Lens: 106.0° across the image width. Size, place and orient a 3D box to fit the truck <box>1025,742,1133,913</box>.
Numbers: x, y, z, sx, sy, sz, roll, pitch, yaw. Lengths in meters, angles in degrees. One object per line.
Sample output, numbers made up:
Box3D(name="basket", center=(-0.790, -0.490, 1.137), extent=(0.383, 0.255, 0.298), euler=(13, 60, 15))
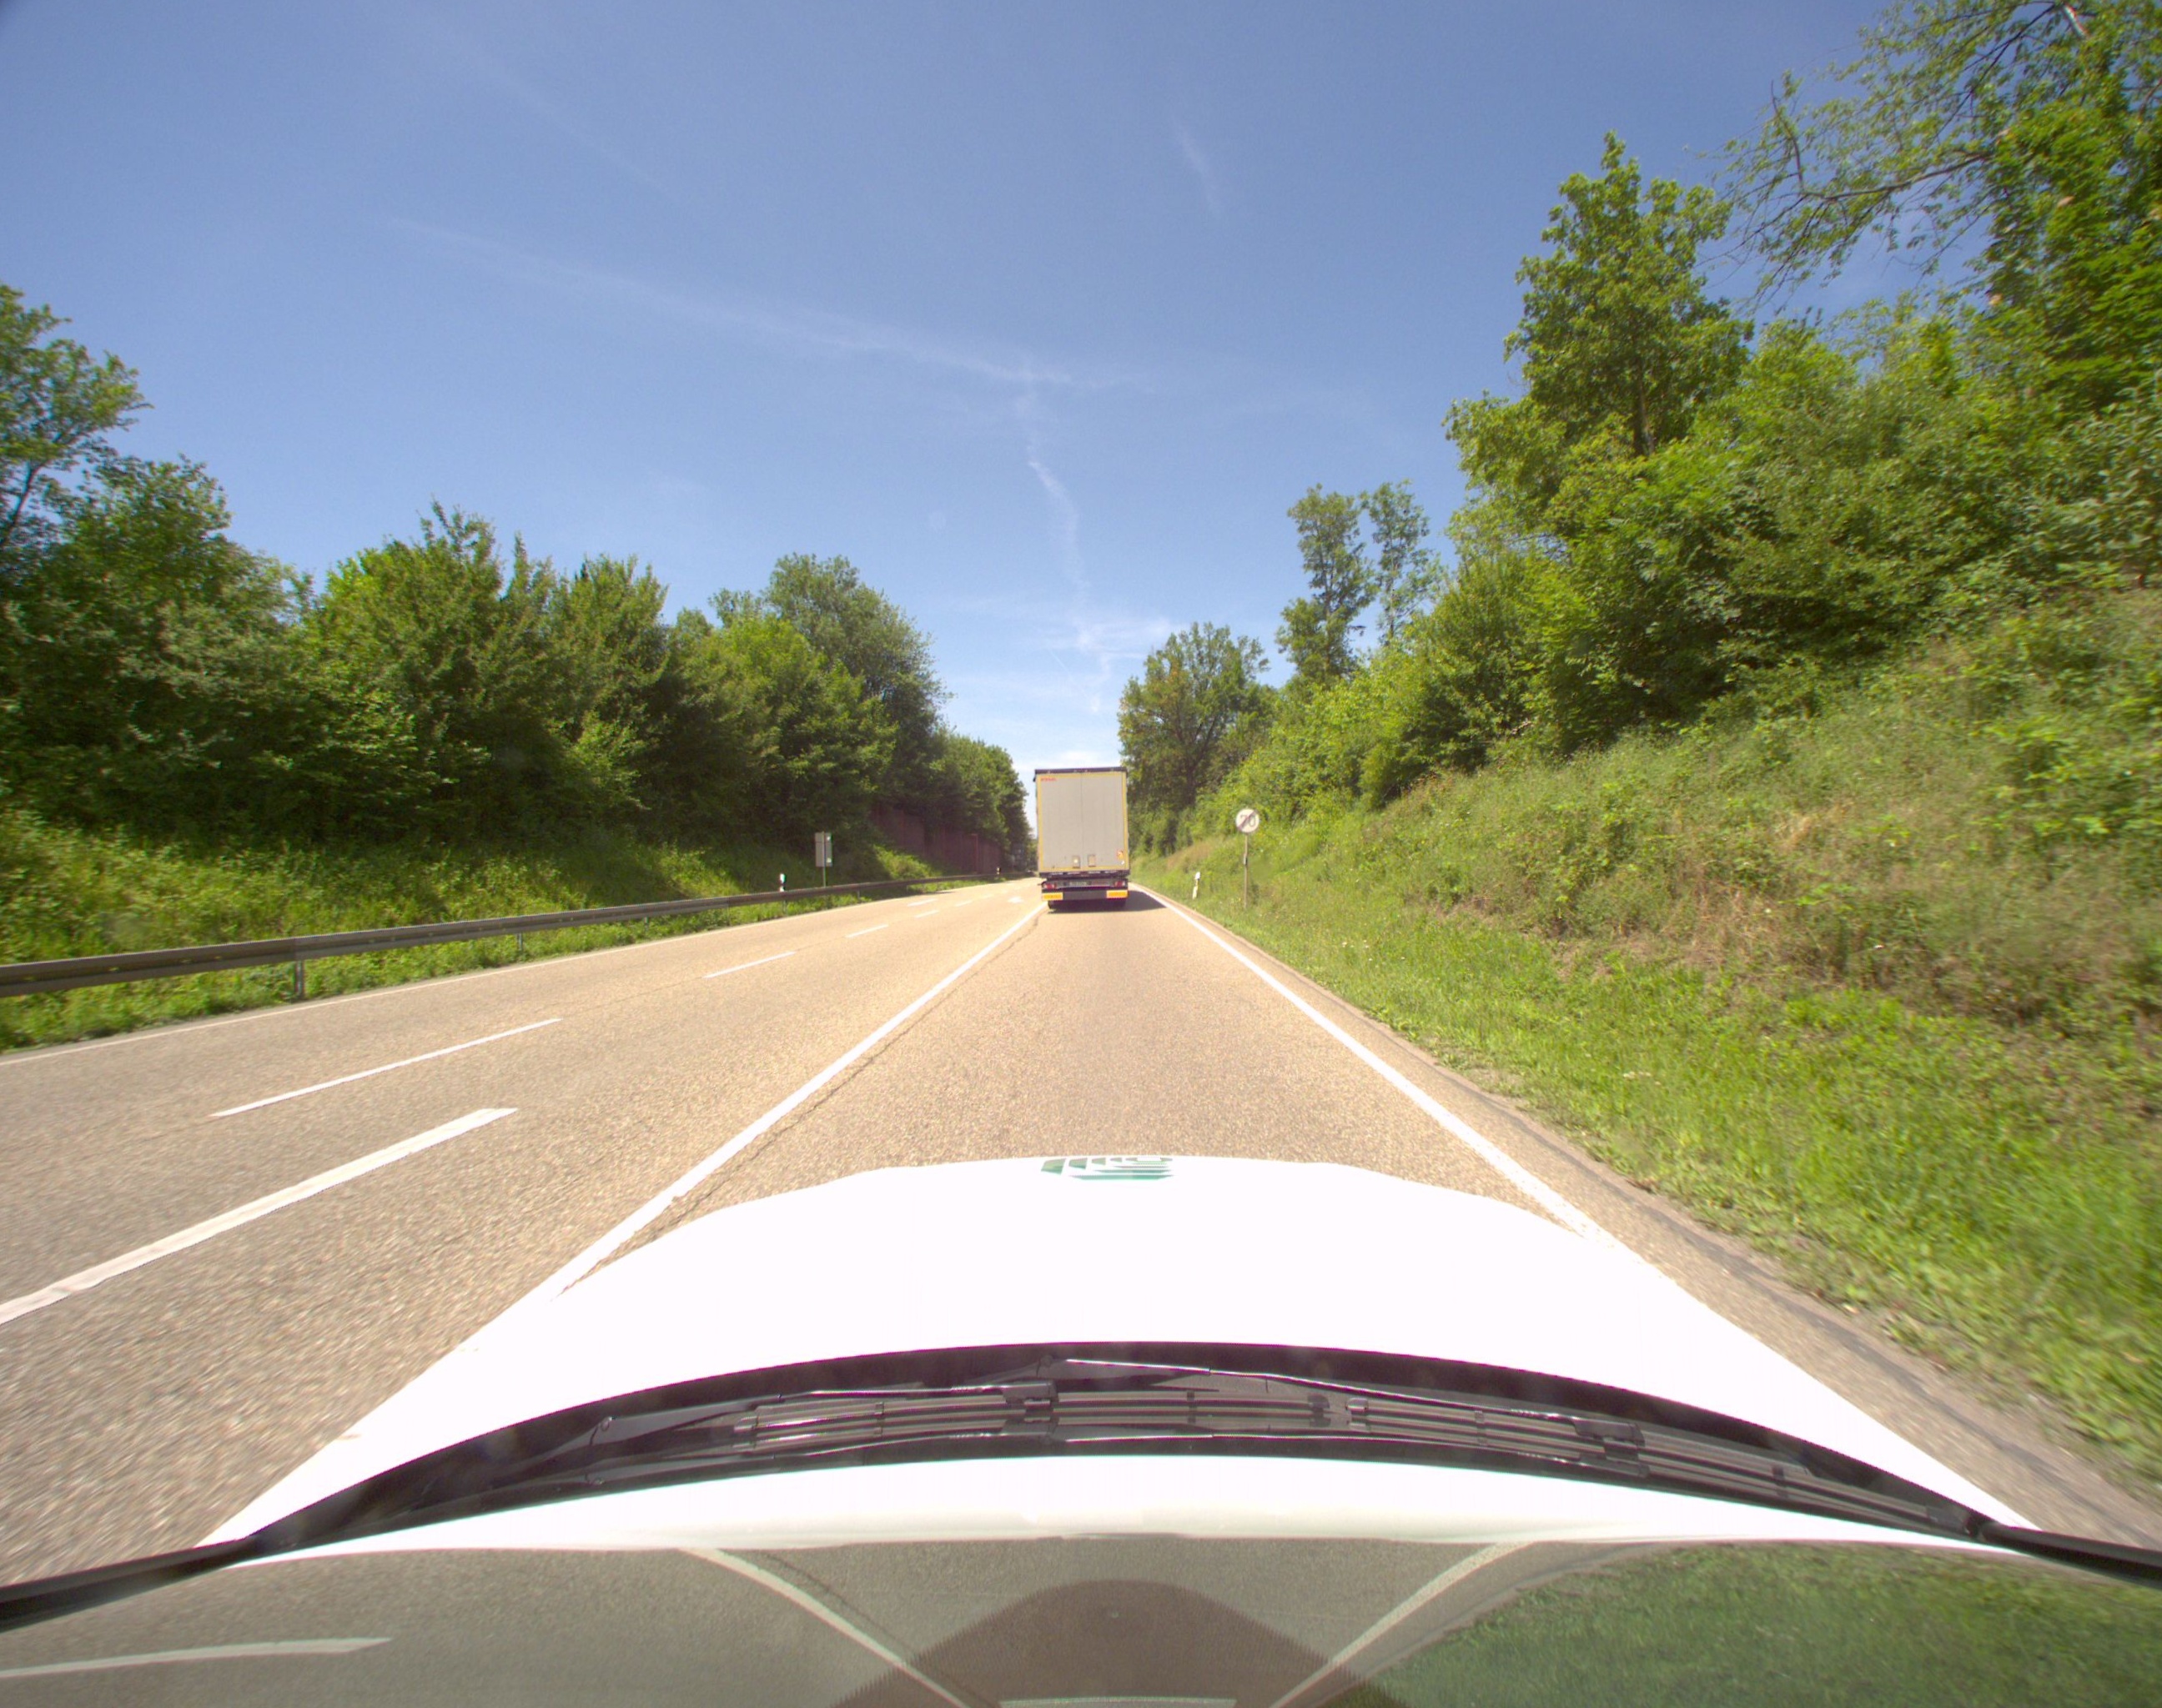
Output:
Box3D(name="truck", center=(0.033, -0.737, 25.704), extent=(2.812, 4.603, 6.667), euler=(-2, 0, 1))

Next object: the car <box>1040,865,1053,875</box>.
Box3D(name="car", center=(-5.387, 2.572, 128.315), extent=(1.803, 1.435, 3.863), euler=(-2, 0, -6))
